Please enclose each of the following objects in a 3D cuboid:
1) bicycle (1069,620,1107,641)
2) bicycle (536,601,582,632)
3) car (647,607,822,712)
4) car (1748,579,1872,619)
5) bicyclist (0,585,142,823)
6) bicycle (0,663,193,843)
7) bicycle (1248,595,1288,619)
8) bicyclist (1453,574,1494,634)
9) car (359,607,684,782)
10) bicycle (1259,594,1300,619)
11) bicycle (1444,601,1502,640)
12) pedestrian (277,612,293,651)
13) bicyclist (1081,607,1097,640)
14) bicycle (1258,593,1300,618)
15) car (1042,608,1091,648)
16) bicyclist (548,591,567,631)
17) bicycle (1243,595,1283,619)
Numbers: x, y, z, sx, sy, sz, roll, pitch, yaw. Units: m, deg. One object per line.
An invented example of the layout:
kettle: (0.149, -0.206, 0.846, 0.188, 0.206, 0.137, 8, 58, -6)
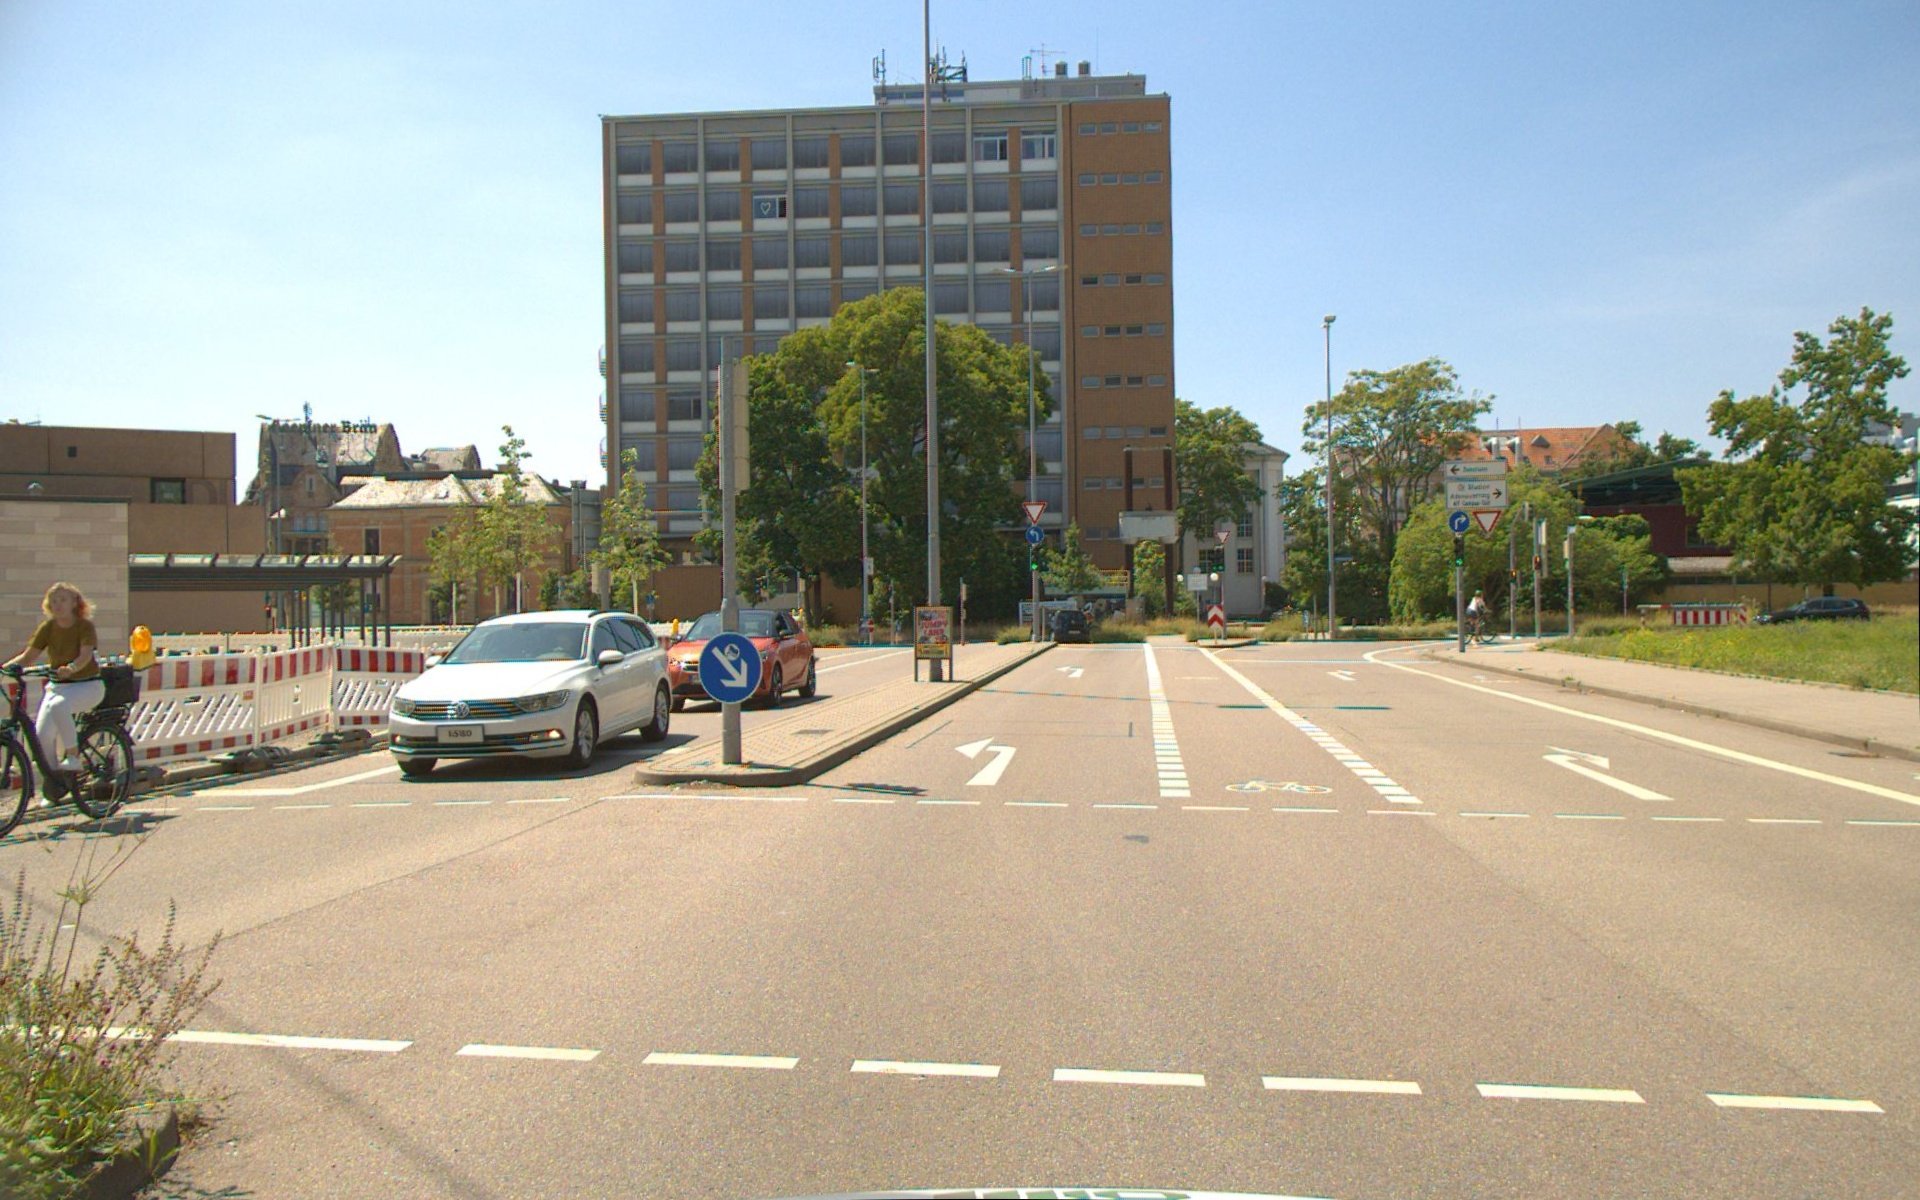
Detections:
bicycle: (6.717, 1.587, 86.959, 1.951, 1.063, 0.558, -1, 1, -4)
bicycle: (-16.391, 0.669, 67.586, 1.854, 1.201, 0.524, -2, -2, 24)
car: (-3.332, 0.850, 25.188, 1.652, 1.402, 4.016, -3, -1, 6)
car: (36.865, -0.023, 71.844, 4.444, 1.614, 1.710, -2, -1, 12)
bicyclist: (-6.648, 0.752, 12.363, 0.573, 1.694, 0.799, -3, -1, 3)
bicycle: (-6.616, 1.108, 12.482, 0.575, 1.170, 2.010, -3, -1, 3)
bicycle: (26.425, 0.590, 141.950, 3.373, 2.049, 0.761, 1, -1, 8)
bicyclist: (16.570, 0.132, 53.395, 1.125, 1.920, 0.700, 1, -1, -35)
car: (-4.253, 0.847, 16.824, 1.777, 1.453, 4.429, -3, 0, 4)
bicycle: (26.765, 0.534, 138.545, 3.373, 2.049, 0.761, 1, -1, 8)
bicycle: (16.566, 0.668, 53.418, 2.164, 1.259, 0.515, 1, -1, -33)
pedestrian: (-35.533, 1.661, 87.090, 0.543, 2.049, 0.575, 1, -1, 4)
bicyclist: (6.781, 1.235, 86.957, 0.687, 1.745, 0.550, 0, 1, -8)
bicycle: (27.033, 0.468, 140.176, 3.373, 2.049, 0.761, 1, -1, 8)
car: (4.427, 1.150, 69.249, 1.581, 1.579, 3.772, 1, 0, -3)
bicyclist: (-16.457, 0.461, 67.609, 0.487, 1.607, 0.531, -2, -2, 23)
bicycle: (26.476, 0.638, 144.621, 3.373, 2.049, 0.761, 1, -1, 8)
